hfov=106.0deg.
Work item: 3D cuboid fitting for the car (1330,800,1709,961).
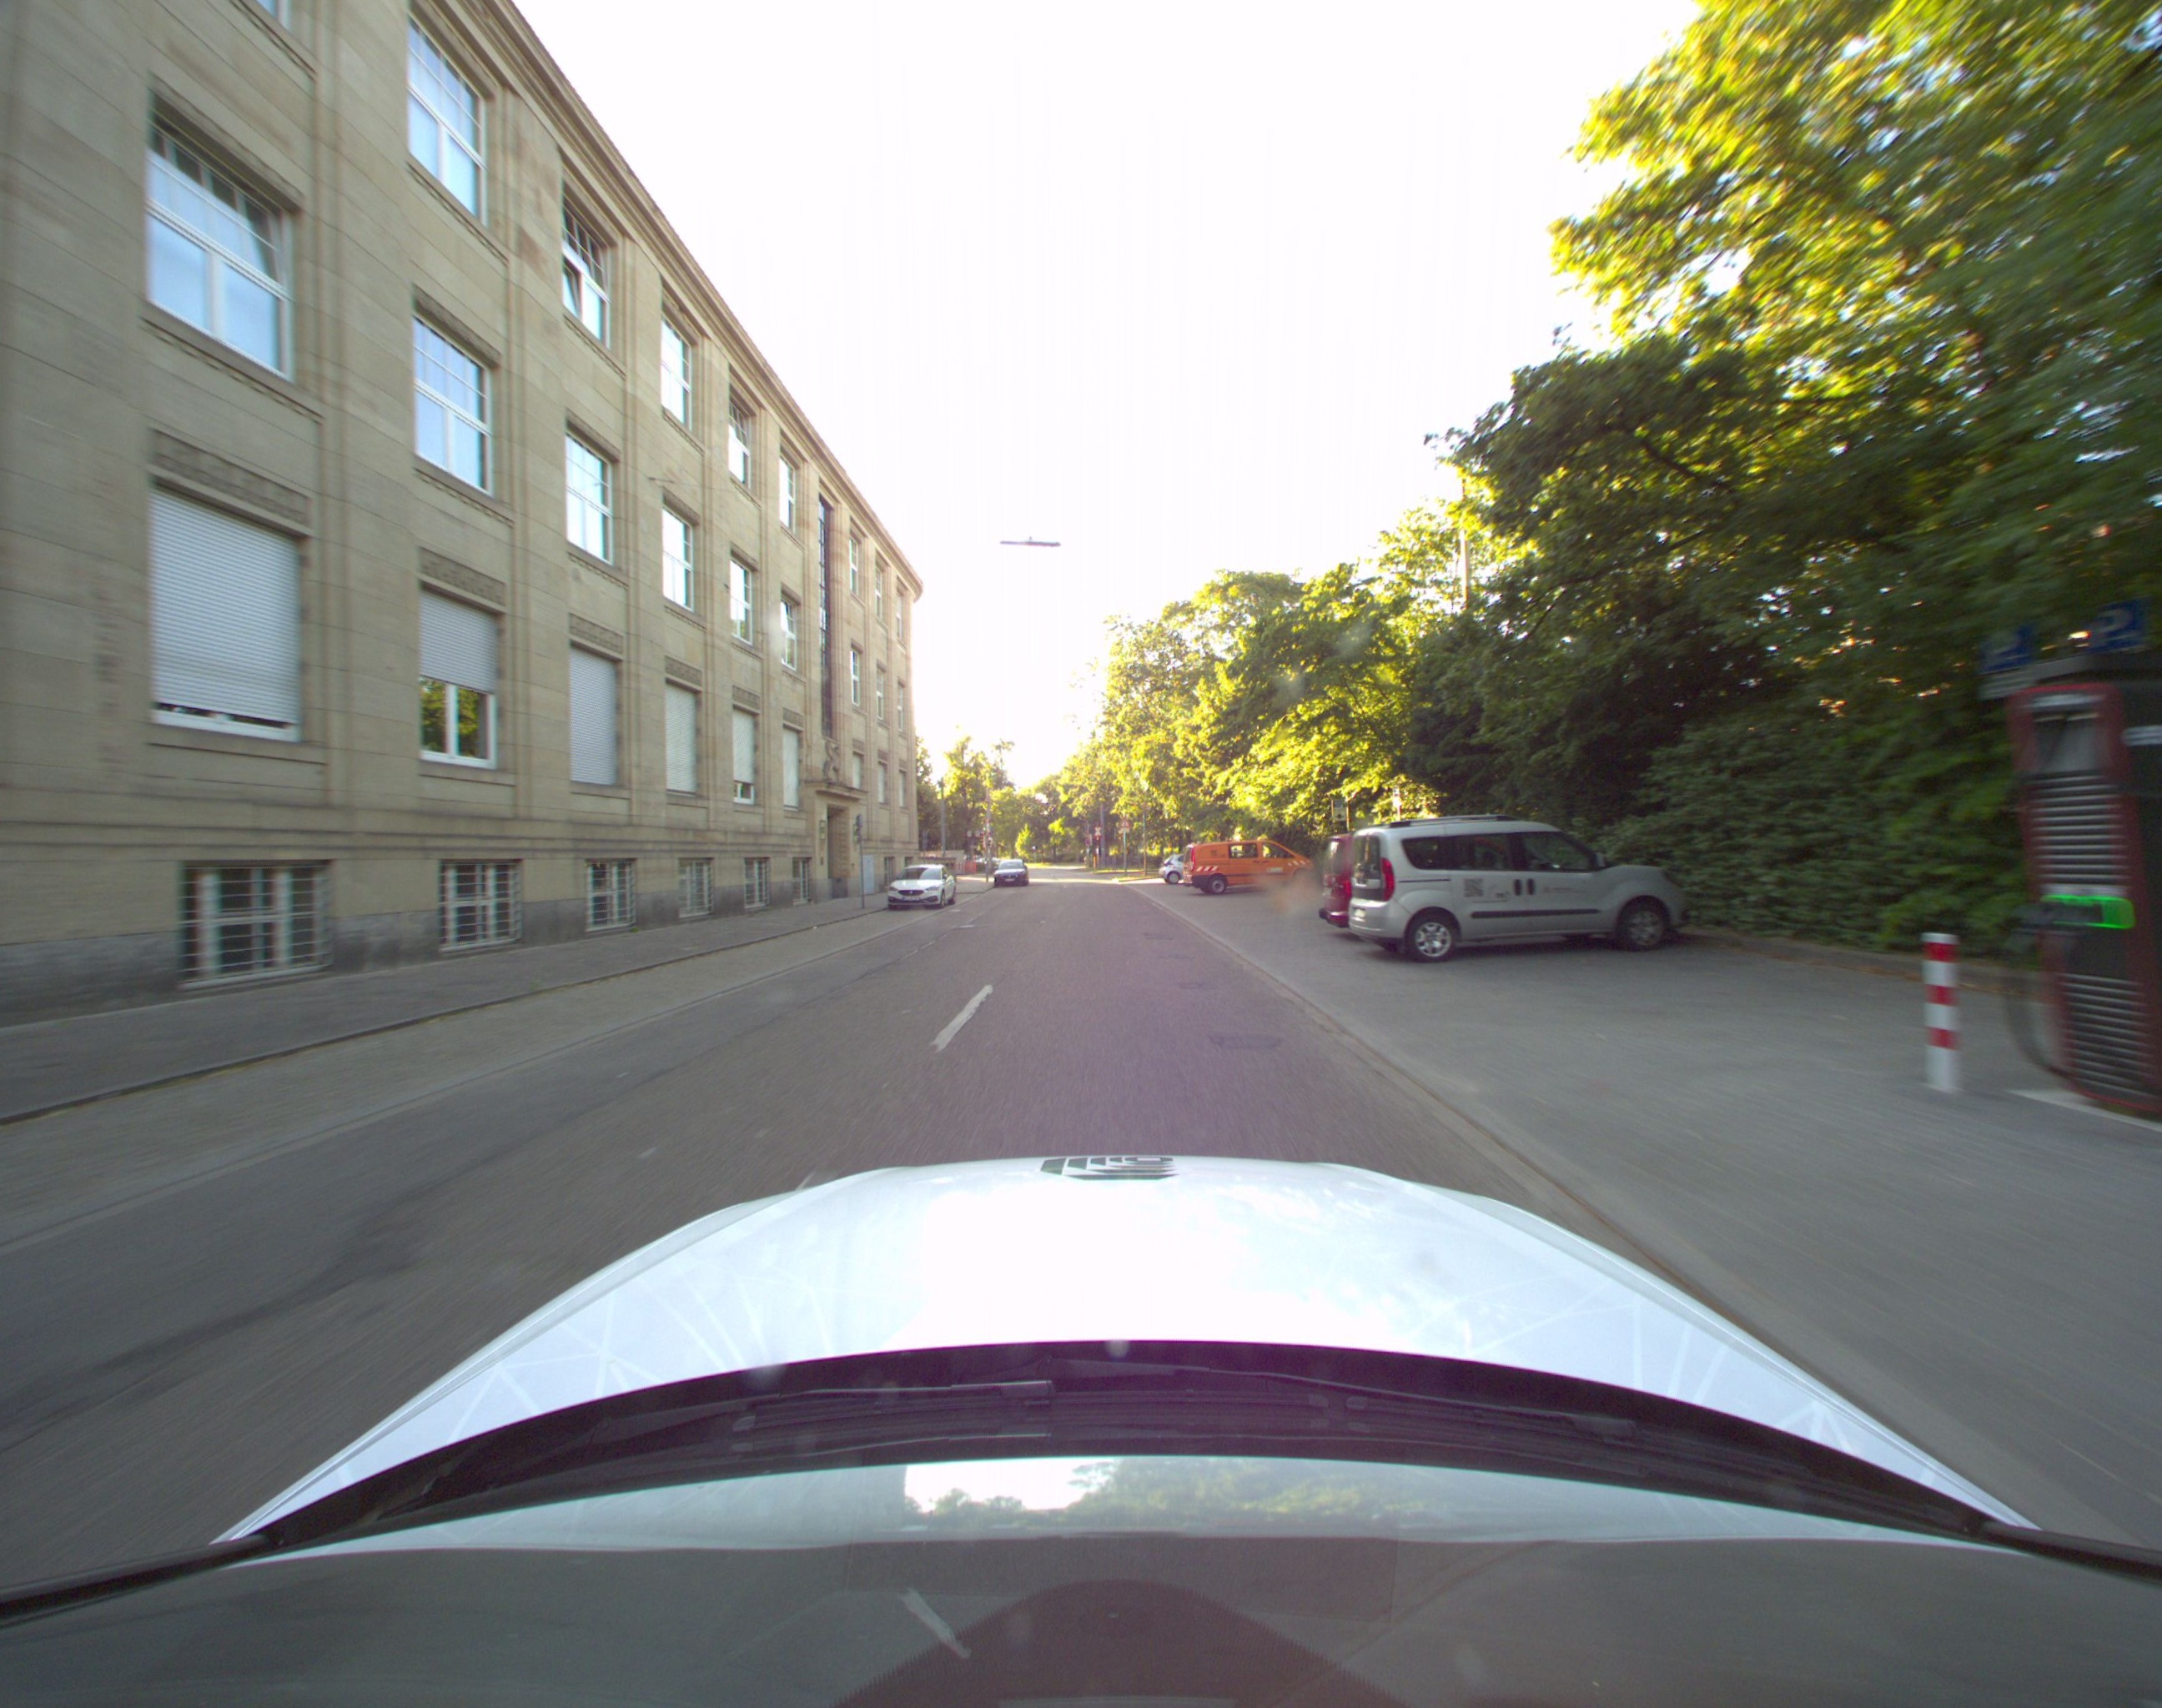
[{"bbox_3d":[5.949,0.359,11.531,4.211,1.859,2.002,-3,-1,3],"label":"car"}]

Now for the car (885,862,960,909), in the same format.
[{"bbox_3d":[-5.337,1.018,27.888,1.722,1.397,4.371,-1,0,-1],"label":"car"}]

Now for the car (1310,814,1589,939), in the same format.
[{"bbox_3d":[6.186,0.373,14.027,4.007,1.835,1.615,-3,0,3],"label":"car"}]

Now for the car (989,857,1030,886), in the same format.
[{"bbox_3d":[-3.871,0.934,44.893,1.873,1.466,4.371,-1,0,-1],"label":"car"}]

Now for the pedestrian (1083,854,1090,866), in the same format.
[{"bbox_3d":[0.792,0.860,116.512,0.822,1.721,0.875,-1,-2,4],"label":"pedestrian"}]

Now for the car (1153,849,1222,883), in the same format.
[{"bbox_3d":[5.391,0.606,41.404,3.138,1.503,1.538,-3,0,-5],"label":"car"}]

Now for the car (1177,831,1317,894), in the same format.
[{"bbox_3d":[6.228,0.308,30.870,4.810,2.013,1.799,-3,0,-5],"label":"car"}]
